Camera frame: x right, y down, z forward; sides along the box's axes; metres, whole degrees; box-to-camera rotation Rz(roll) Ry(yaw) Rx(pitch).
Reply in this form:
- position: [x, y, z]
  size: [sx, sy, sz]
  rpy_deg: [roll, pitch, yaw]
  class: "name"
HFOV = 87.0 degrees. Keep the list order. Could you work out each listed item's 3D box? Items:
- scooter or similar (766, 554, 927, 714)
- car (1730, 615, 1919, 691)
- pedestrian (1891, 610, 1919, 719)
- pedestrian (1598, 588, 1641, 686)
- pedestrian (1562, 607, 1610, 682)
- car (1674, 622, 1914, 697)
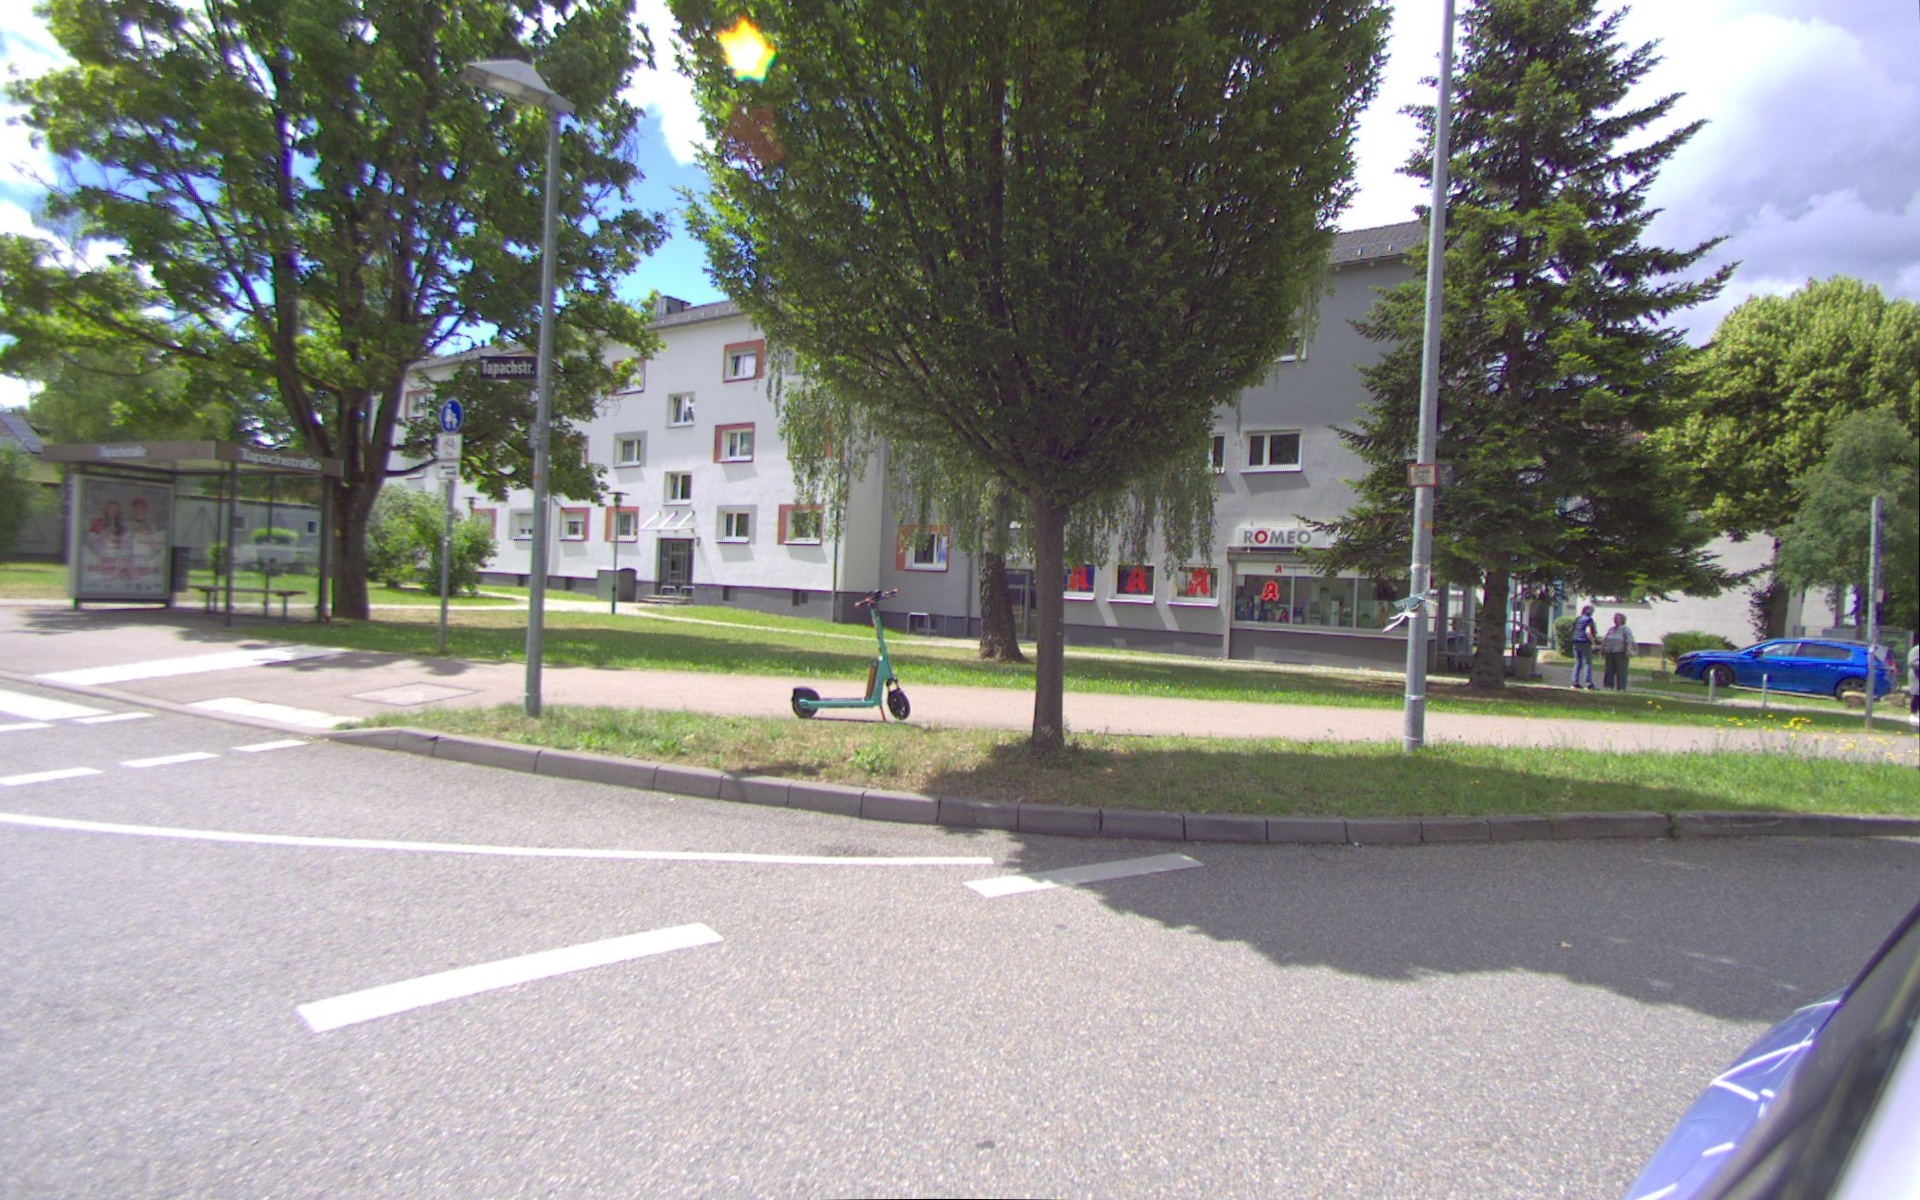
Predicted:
- position: [-1.043, 0.301, 9.396]
  size: [1.361, 1.359, 0.487]
  rpy_deg: [4, 1, -5]
  class: "scooter or similar"
- position: [23.671, 1.410, 27.904]
  size: [3.722, 1.575, 2.005]
  rpy_deg: [7, 3, 37]
  class: "car"
- position: [18.122, 1.209, 18.708]
  size: [0.928, 1.980, 0.839]
  rpy_deg: [3, 1, 12]
  class: "pedestrian"
- position: [14.386, 0.786, 22.057]
  size: [0.652, 2.038, 1.033]
  rpy_deg: [4, 1, 35]
  class: "pedestrian"
- position: [13.635, 0.959, 22.035]
  size: [0.741, 1.548, 0.681]
  rpy_deg: [4, 1, 39]
  class: "pedestrian"
- position: [21.054, 1.434, 25.856]
  size: [4.472, 1.258, 1.975]
  rpy_deg: [7, 3, 35]
  class: "car"
